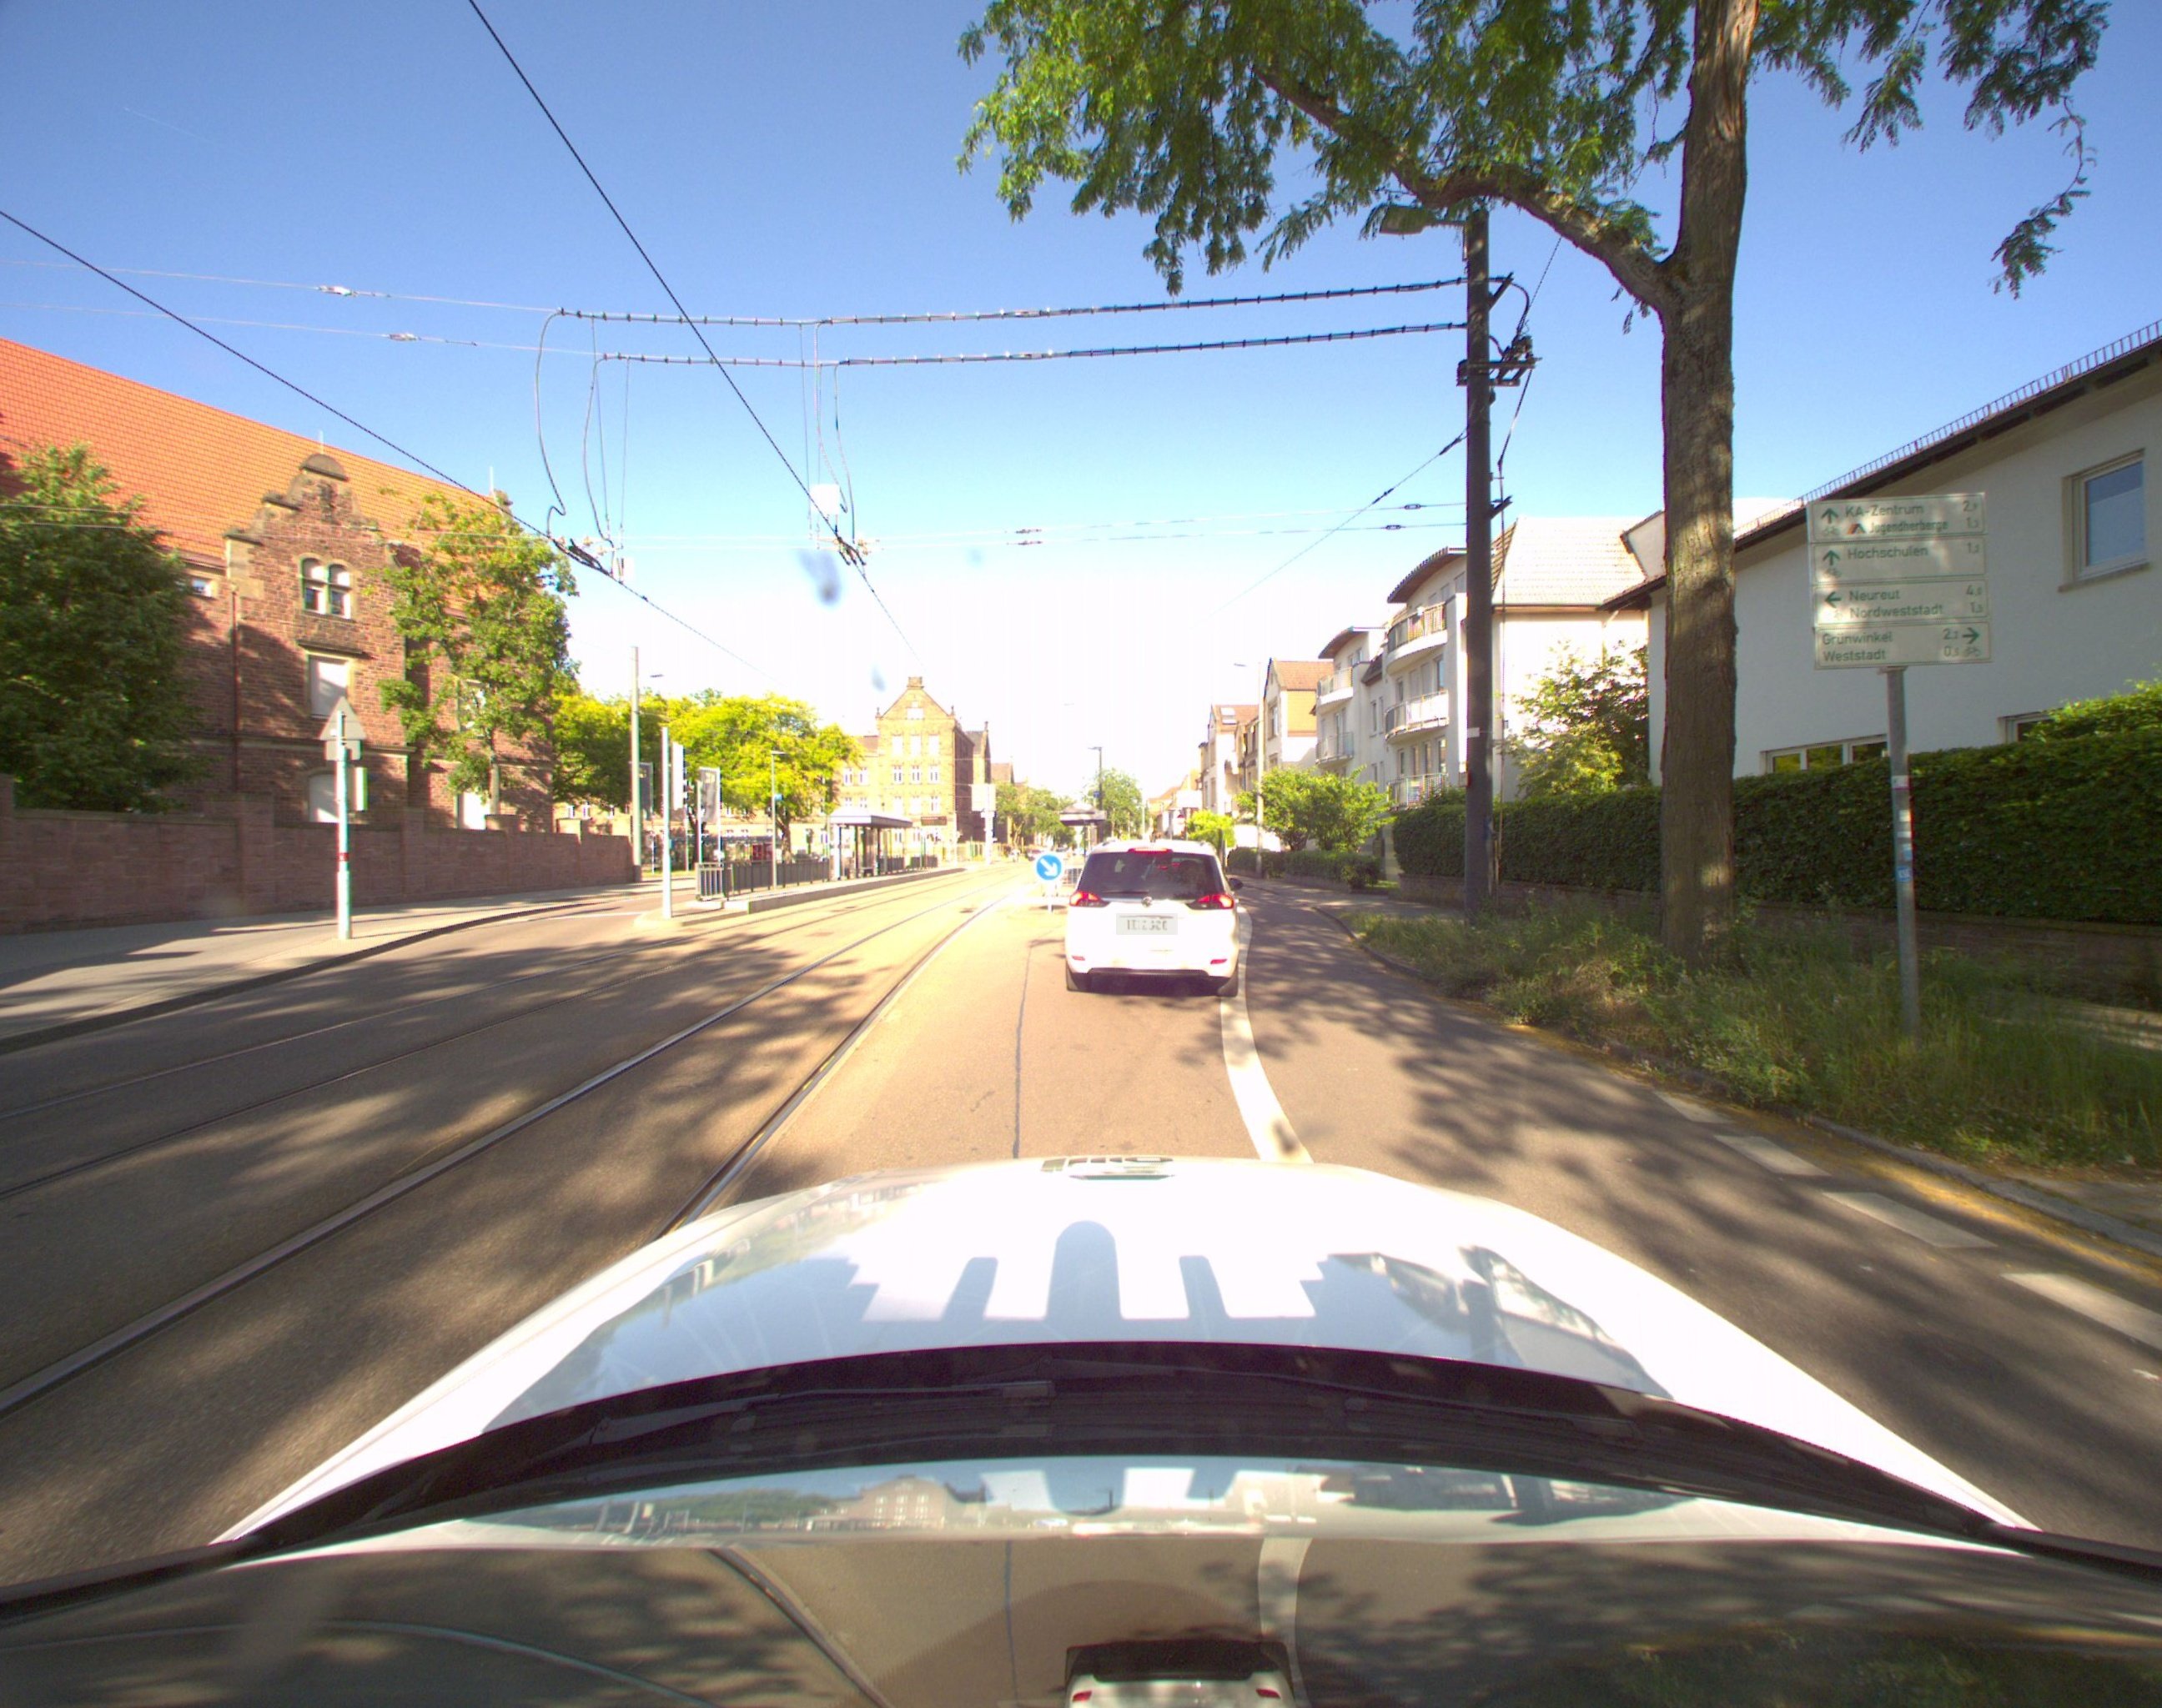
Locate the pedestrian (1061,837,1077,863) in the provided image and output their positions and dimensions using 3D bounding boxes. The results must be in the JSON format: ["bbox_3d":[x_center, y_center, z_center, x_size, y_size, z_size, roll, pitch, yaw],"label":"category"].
[{"bbox_3d":[-0.909,-0.323,63.386,1.153,2.013,1.118,0,0,-5],"label":"pedestrian"}]

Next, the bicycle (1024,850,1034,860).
[{"bbox_3d":[-6.845,0.141,108.131,1.145,1.297,2.860,-1,0,-1],"label":"bicycle"}]

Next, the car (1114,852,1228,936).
[{"bbox_3d":[1.946,0.718,16.479,1.981,1.442,4.012,-1,0,10],"label":"car"}]

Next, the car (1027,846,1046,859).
[{"bbox_3d":[-6.337,-0.221,116.363,1.984,1.722,4.006,-1,0,5],"label":"car"}]

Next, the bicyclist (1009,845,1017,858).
[{"bbox_3d":[-8.794,-0.302,105.613,0.940,1.734,0.861,-1,0,0],"label":"bicyclist"}]

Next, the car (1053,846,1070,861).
[{"bbox_3d":[-2.632,-0.050,109.720,1.986,1.913,4.001,-1,0,2],"label":"car"}]

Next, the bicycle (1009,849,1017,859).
[{"bbox_3d":[-8.803,0.025,105.325,0.819,1.297,2.677,-1,0,-1],"label":"bicycle"}]

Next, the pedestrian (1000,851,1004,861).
[{"bbox_3d":[-11.755,0.245,121.143,0.360,1.437,0.549,-1,0,3],"label":"pedestrian"}]

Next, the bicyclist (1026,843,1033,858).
[{"bbox_3d":[-6.823,-0.480,108.126,0.948,2.013,0.823,-1,0,-3],"label":"bicyclist"}]

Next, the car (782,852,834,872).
[{"bbox_3d":[-24.646,0.709,73.604,3.979,1.789,1.997,-1,0,-4],"label":"car"}]

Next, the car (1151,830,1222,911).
[{"bbox_3d":[3.001,0.413,22.586,1.698,2.013,3.918,-1,0,10],"label":"car"}]

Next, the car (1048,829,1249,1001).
[{"bbox_3d":[0.945,0.634,9.847,1.881,1.611,4.238,-1,-2,9],"label":"car"}]
